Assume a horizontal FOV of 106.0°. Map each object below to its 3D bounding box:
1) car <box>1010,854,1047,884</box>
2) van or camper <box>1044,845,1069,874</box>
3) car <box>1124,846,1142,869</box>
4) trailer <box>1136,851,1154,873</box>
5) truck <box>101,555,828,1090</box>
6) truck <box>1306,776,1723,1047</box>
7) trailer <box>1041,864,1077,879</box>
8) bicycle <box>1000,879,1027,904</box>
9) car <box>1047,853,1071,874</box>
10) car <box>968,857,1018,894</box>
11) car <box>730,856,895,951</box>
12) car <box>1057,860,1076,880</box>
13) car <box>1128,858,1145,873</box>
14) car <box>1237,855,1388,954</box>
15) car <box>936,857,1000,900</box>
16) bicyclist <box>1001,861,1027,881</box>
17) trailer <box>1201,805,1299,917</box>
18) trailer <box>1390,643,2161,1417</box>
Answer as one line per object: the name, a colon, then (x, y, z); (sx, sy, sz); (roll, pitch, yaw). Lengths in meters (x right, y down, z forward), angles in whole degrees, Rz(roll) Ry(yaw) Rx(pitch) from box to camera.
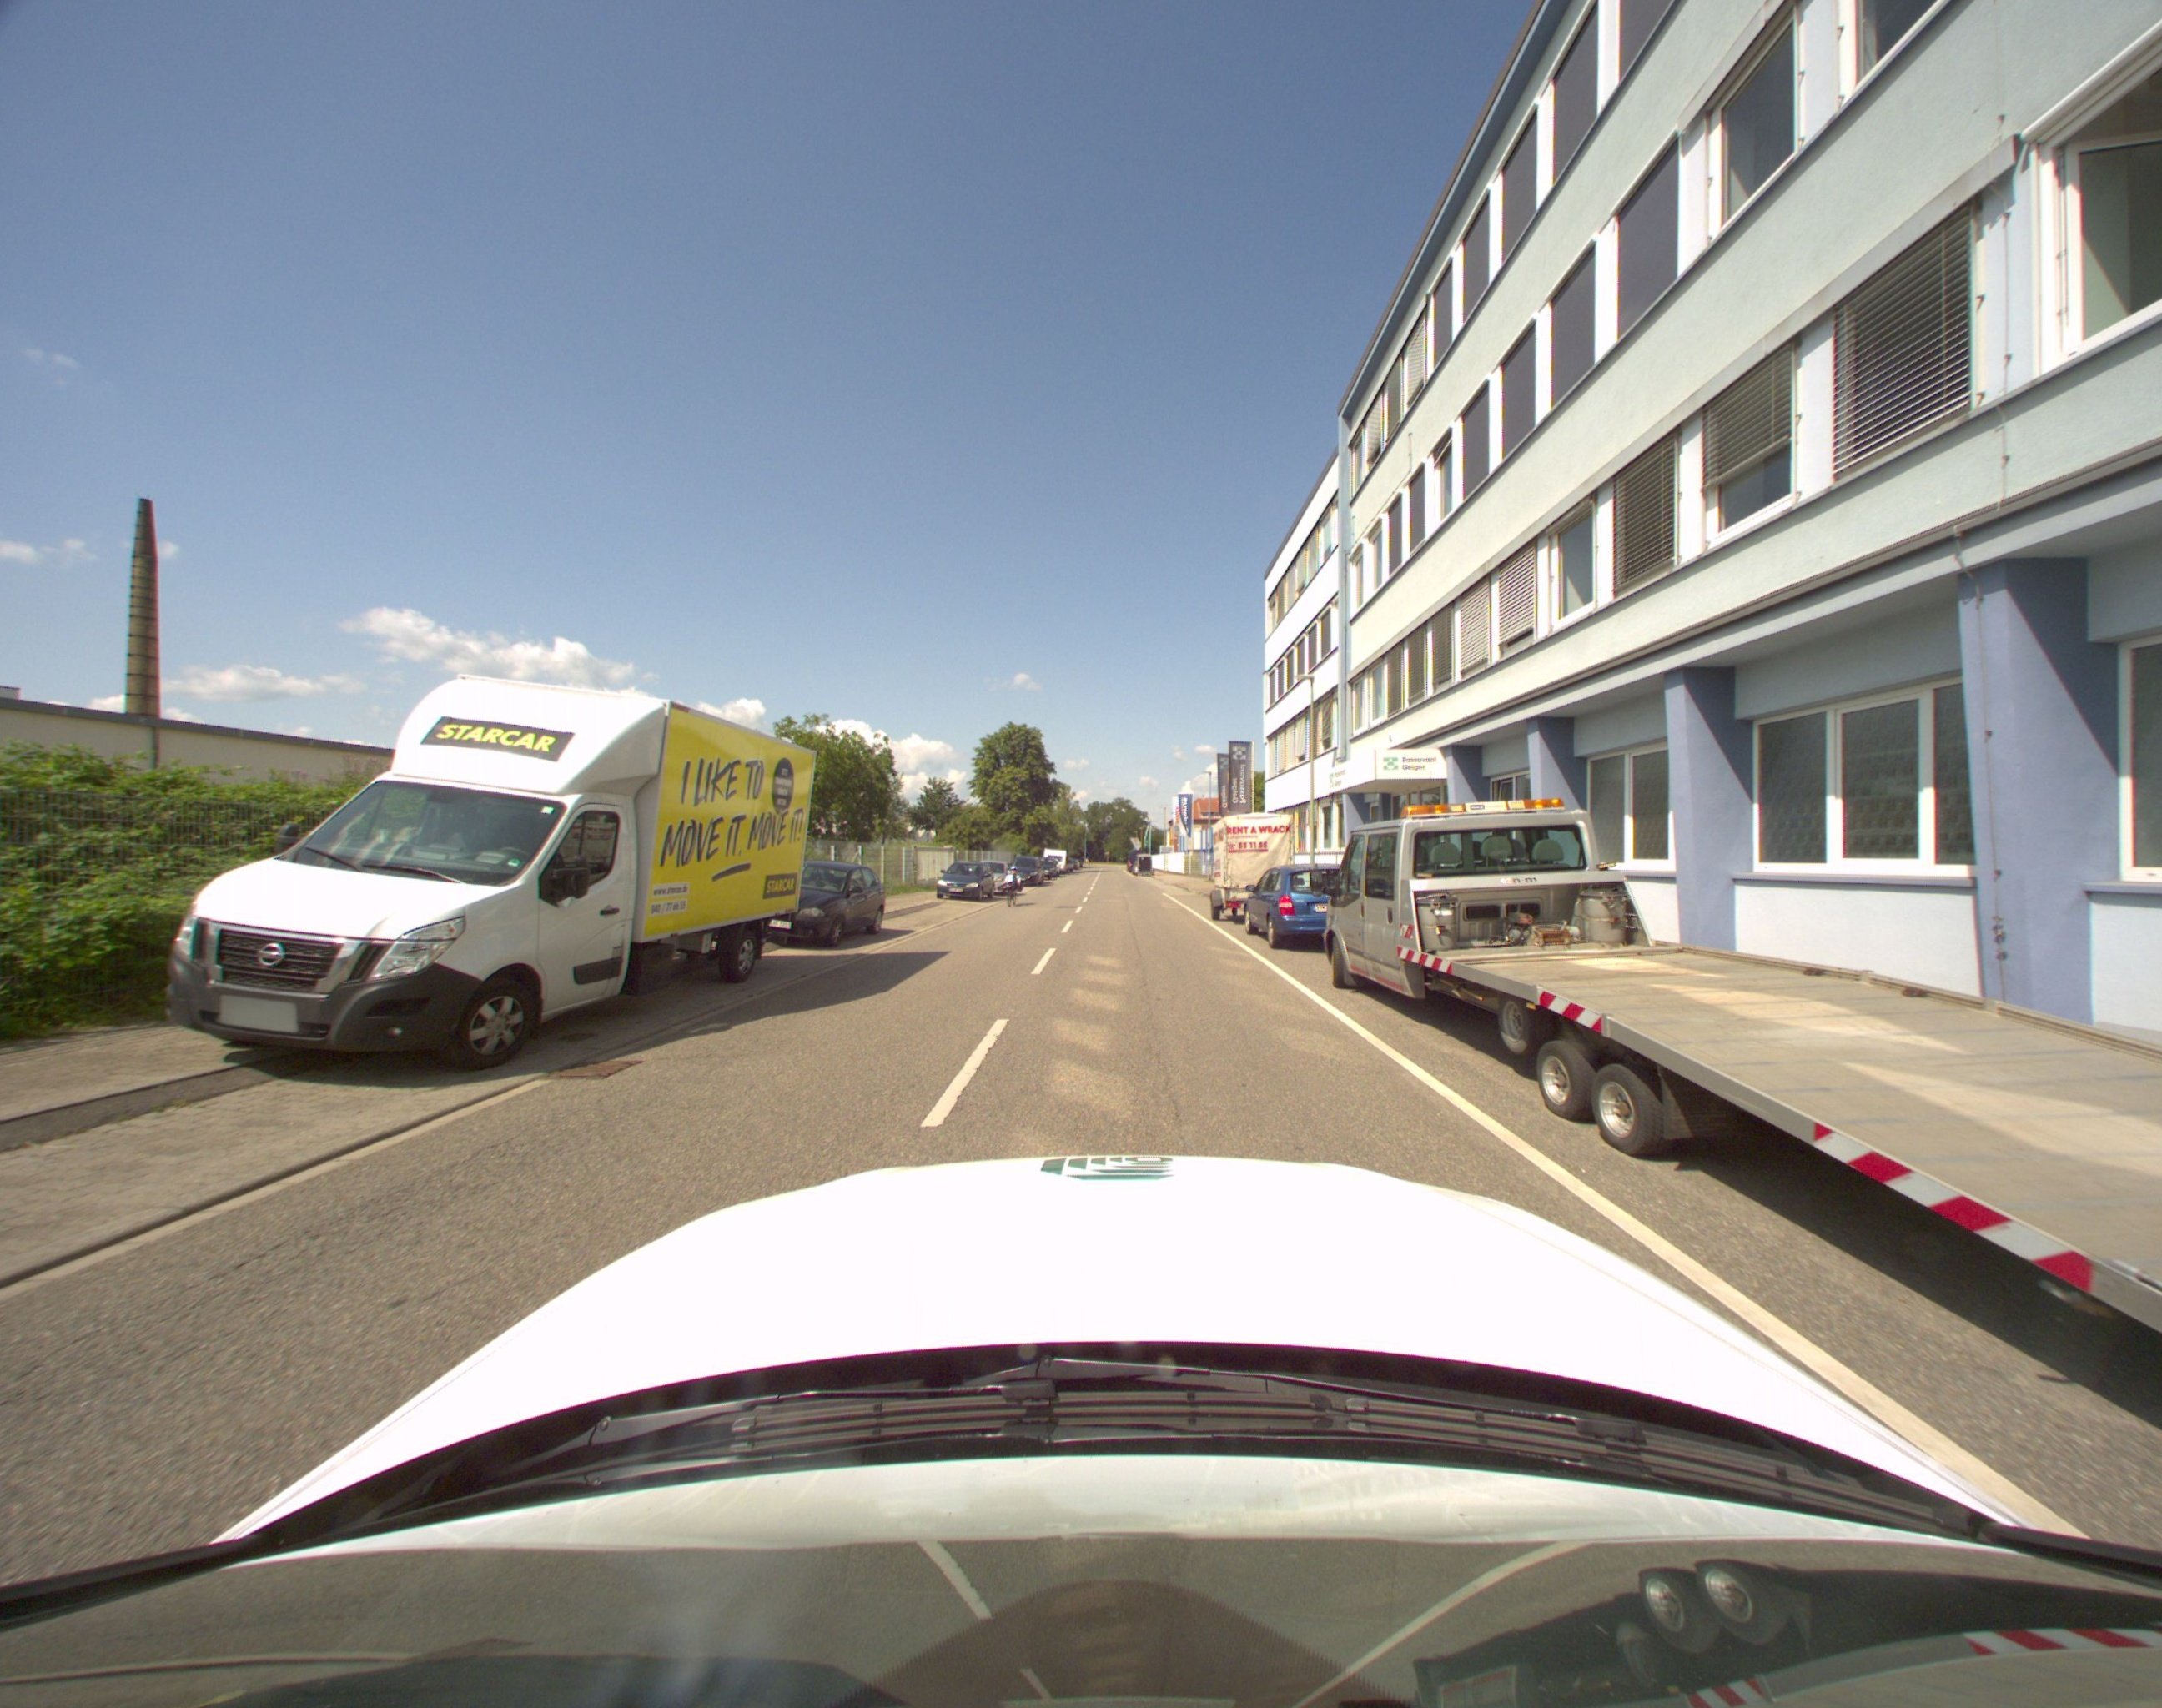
car: (-3.113, 0.859, 49.010); (1.794, 1.750, 4.714); (0, 0, 1)
van or camper: (-2.592, 0.589, 87.646); (2.255, 2.803, 6.833); (3, 0, 0)
car: (6.344, 0.464, 100.306); (1.930, 2.748, 6.156); (0, 0, 1)
trailer: (6.009, 0.715, 76.606); (1.595, 2.037, 2.741); (1, 0, 1)
truck: (-5.141, -0.236, 8.818); (2.242, 3.361, 6.909); (4, 0, 1)
truck: (3.919, 0.435, 8.507); (1.957, 2.035, 4.736); (0, 0, 2)
trailer: (-1.654, 1.338, 64.140); (2.262, 0.883, 7.137); (4, 0, 3)
bicycle: (-2.263, 1.240, 27.482); (0.585, 0.741, 2.128); (0, 0, 4)
car: (-1.897, 0.788, 72.098); (1.820, 1.793, 4.736); (0, 0, 1)
car: (-3.793, 0.899, 35.754); (1.609, 1.483, 3.711); (2, 0, 2)
car: (-4.977, 0.837, 15.676); (1.613, 1.429, 3.829); (6, 0, 2)
car: (-1.444, 1.520, 78.465); (1.679, 1.692, 4.442); (4, 0, -1)
car: (5.585, 1.119, 82.739); (1.566, 1.507, 4.134); (-1, 0, 1)
car: (4.075, 0.810, 15.048); (1.711, 1.542, 4.406); (1, 0, 3)
car: (-4.242, 0.895, 30.984); (1.562, 1.399, 3.802); (4, 0, 4)
bicyclist: (-2.251, 0.563, 27.469); (0.563, 0.631, 1.860); (1, 1, 5)
trailer: (4.228, 0.165, 21.099); (1.860, 2.553, 5.078); (0, 0, 5)
trailer: (3.813, 0.439, 4.773); (1.966, 1.971, 5.768); (0, 0, 2)
